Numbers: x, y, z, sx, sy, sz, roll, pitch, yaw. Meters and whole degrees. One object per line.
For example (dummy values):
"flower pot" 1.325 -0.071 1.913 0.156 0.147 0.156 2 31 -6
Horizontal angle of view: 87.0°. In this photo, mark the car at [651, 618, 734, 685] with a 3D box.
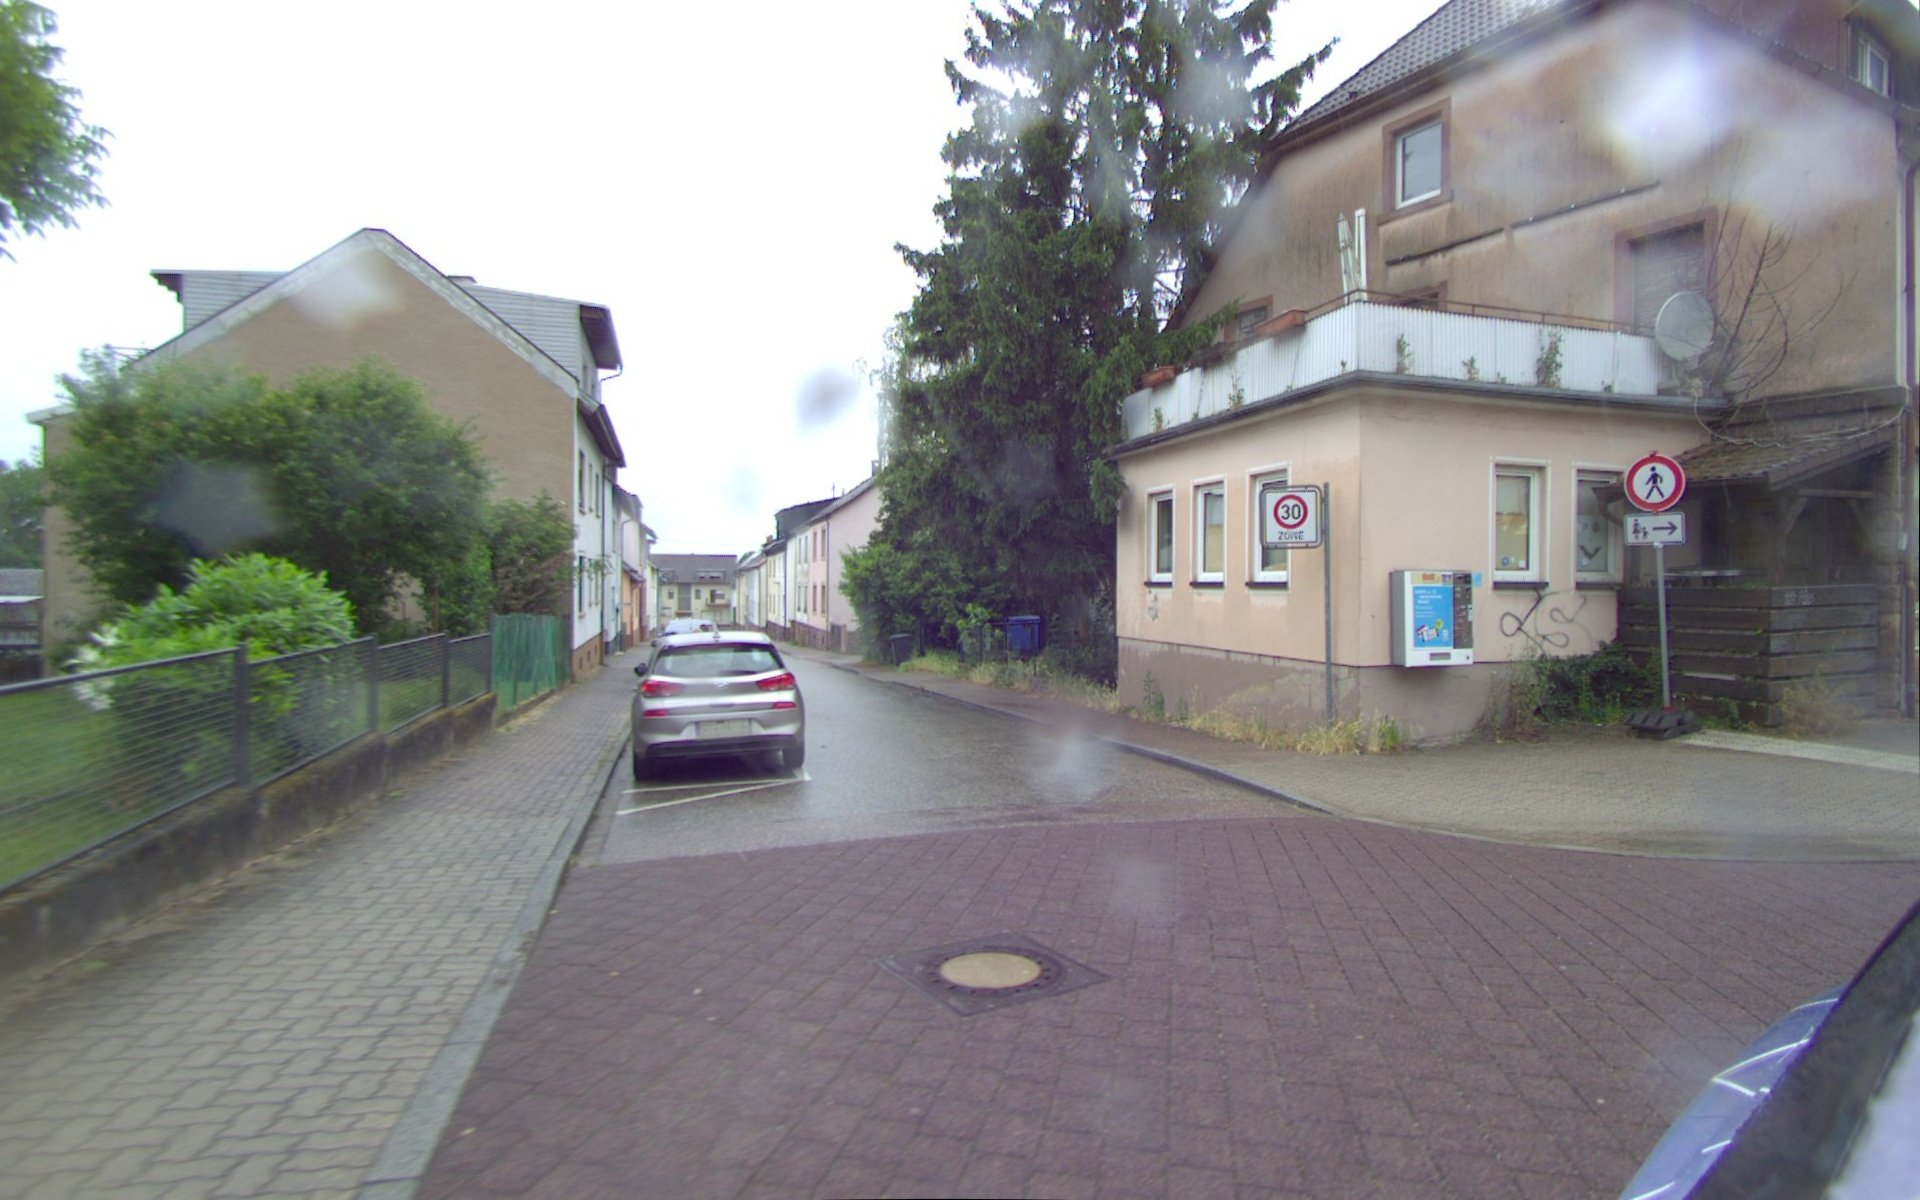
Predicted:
"car" -7.196 1.307 27.074 1.958 1.590 4.104 -1 -1 -16

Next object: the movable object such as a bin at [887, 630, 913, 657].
"movable object such as a bin" -1.852 1.332 31.267 0.685 0.776 0.745 -1 0 -12

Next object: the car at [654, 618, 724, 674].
"car" -8.515 1.372 31.639 1.958 1.590 4.104 -1 -1 -16

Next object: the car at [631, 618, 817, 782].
"car" -2.818 0.989 11.762 1.755 1.490 4.008 0 0 -16

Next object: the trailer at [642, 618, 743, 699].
"trailer" -5.963 1.230 22.804 1.961 1.587 4.555 -1 -1 -13
